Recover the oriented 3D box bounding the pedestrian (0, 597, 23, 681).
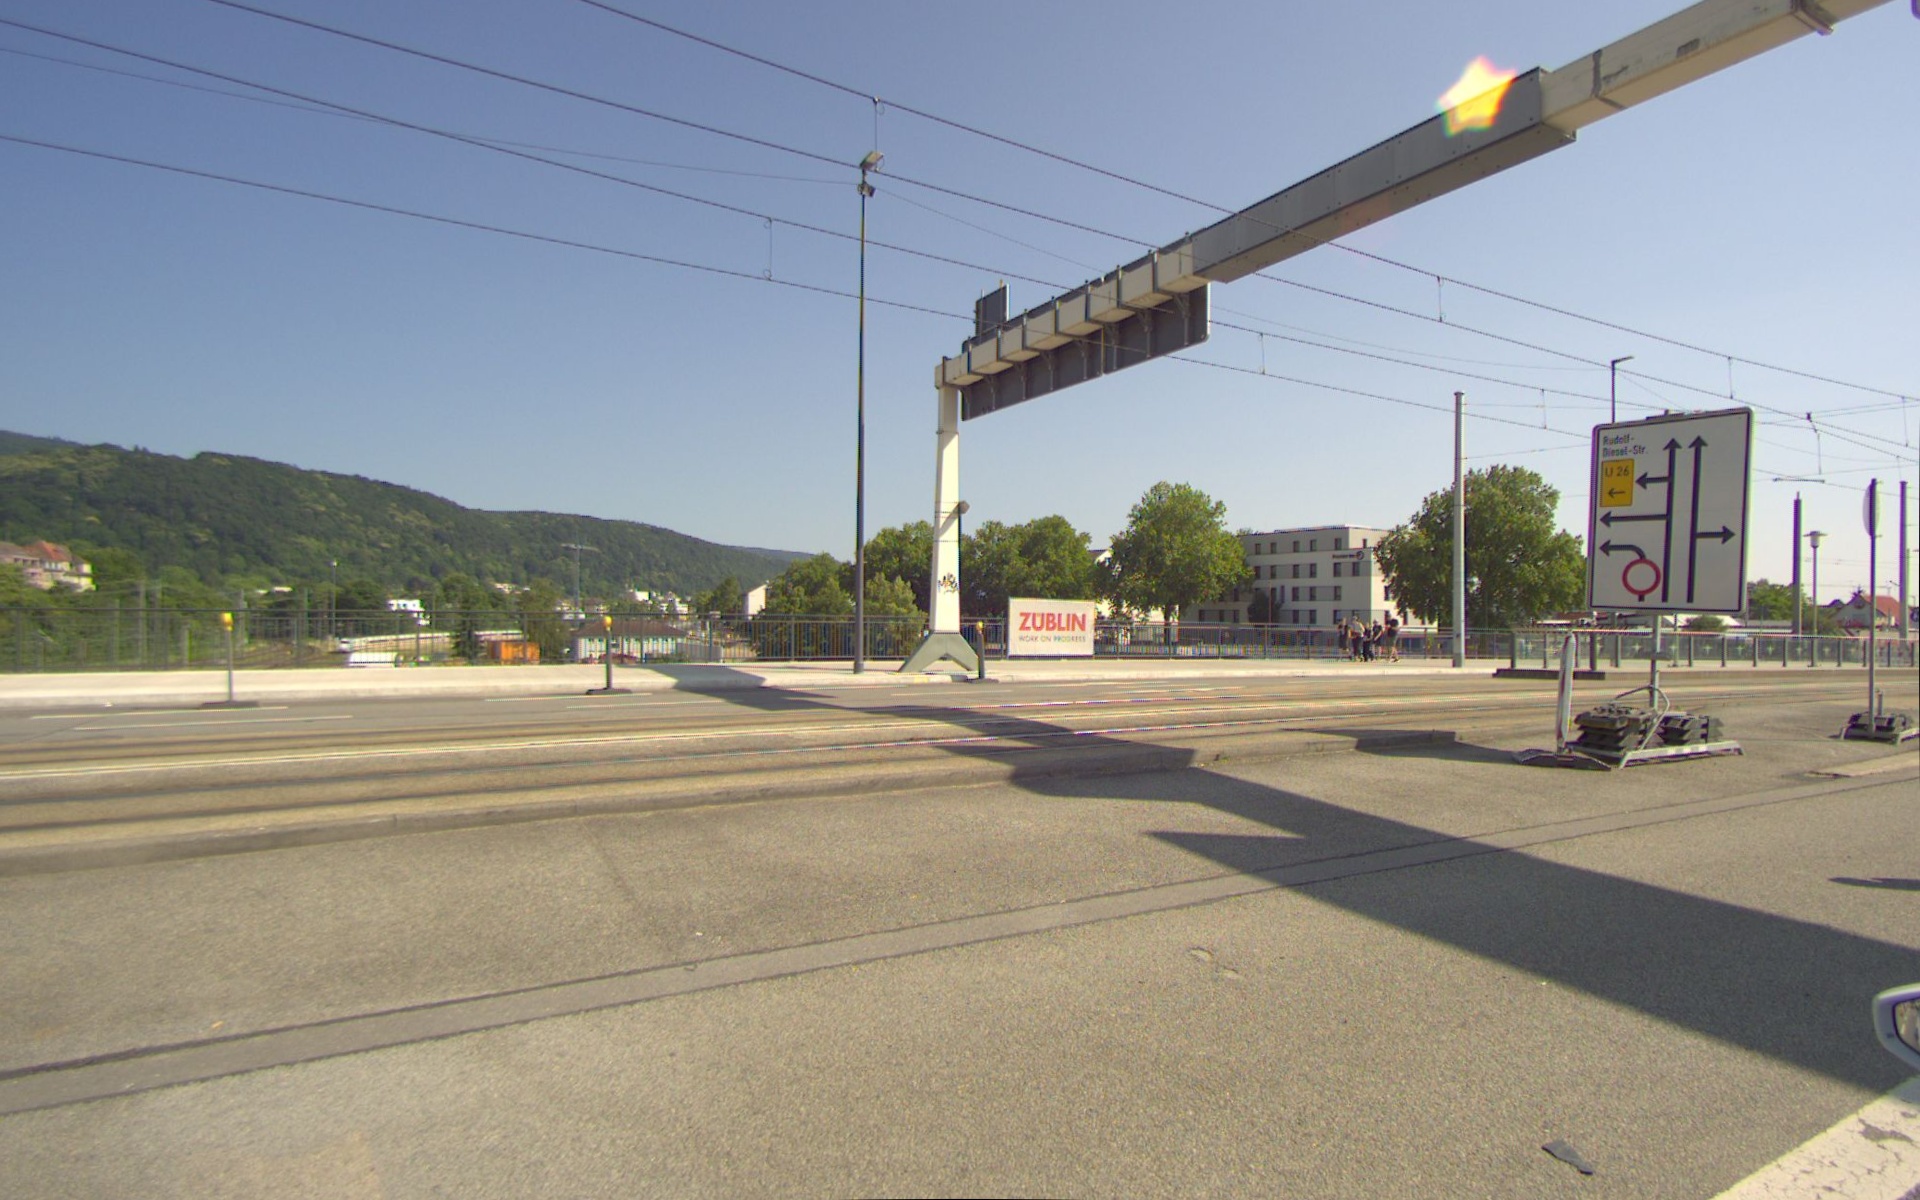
[{"bbox_3d":[-18.434,0.730,19.019,0.879,1.565,0.716,0,2,-31],"label":"pedestrian"}]

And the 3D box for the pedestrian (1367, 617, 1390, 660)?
[{"bbox_3d":[16.611,1.529,39.884,0.763,1.709,0.502,1,-1,-28],"label":"pedestrian"}]

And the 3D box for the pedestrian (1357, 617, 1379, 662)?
[{"bbox_3d":[15.662,1.518,38.521,0.760,1.709,0.382,1,-1,-28],"label":"pedestrian"}]

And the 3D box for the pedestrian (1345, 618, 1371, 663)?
[{"bbox_3d":[14.983,1.519,37.818,0.798,1.709,0.484,1,-1,-28],"label":"pedestrian"}]

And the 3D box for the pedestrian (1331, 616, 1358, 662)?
[{"bbox_3d":[14.653,1.477,38.300,0.807,1.709,0.595,1,-1,-28],"label":"pedestrian"}]

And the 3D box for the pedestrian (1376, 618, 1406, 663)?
[{"bbox_3d":[16.354,1.527,38.131,0.722,1.709,0.750,1,-1,-28],"label":"pedestrian"}]
